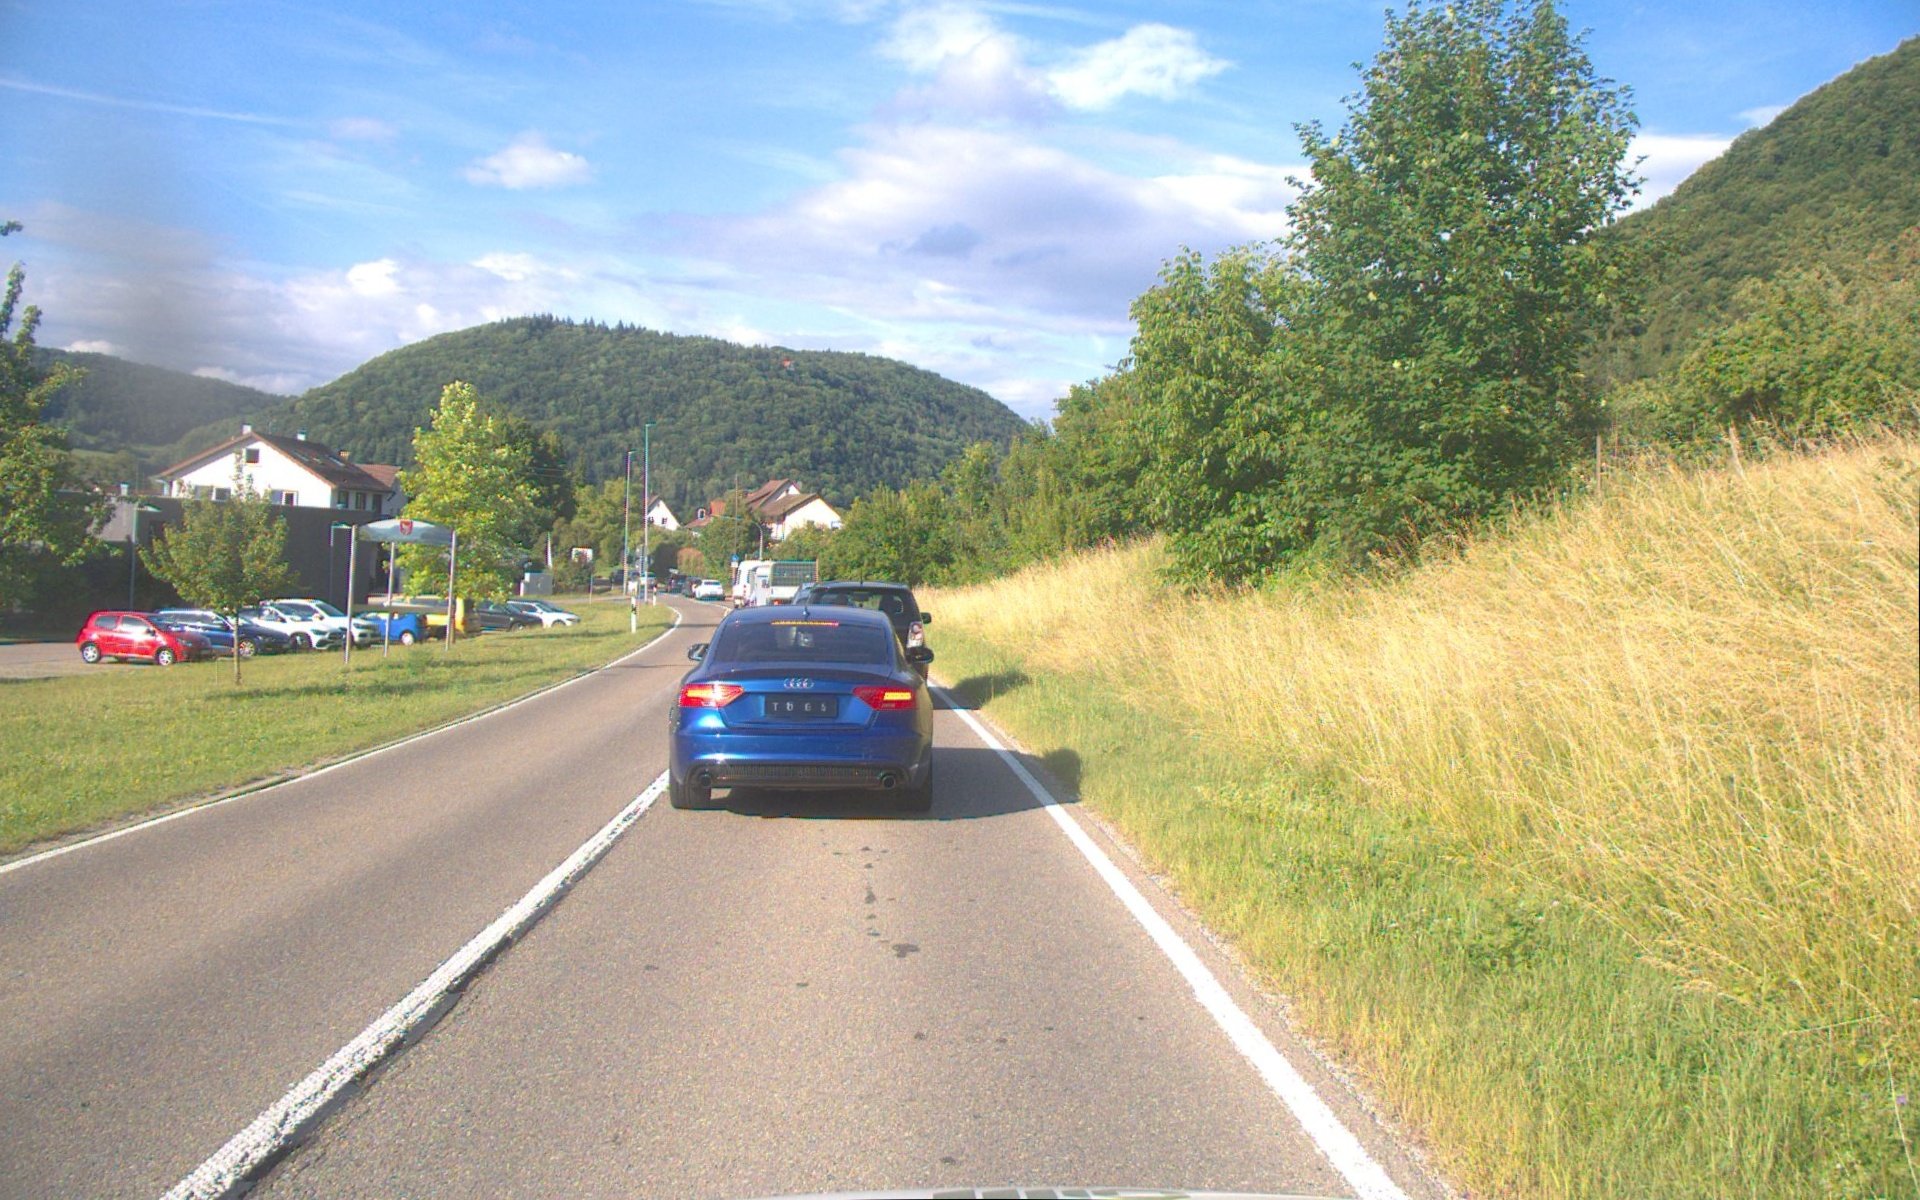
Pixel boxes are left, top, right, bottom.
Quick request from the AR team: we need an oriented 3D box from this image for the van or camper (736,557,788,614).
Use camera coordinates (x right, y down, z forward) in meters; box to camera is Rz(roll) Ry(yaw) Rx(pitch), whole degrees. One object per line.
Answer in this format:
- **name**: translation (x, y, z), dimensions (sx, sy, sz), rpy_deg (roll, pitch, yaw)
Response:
- **van or camper**: translation (-10.088, -0.724, 84.000), dimensions (2.240, 2.761, 5.752), rpy_deg (0, 0, -11)

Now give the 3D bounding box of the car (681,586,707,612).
- **car**: translation (-20.094, -0.063, 124.916), dimensions (1.631, 1.958, 3.986), rpy_deg (0, 0, -14)

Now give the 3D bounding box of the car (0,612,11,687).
- **car**: translation (-24.305, 1.156, 38.238), dimensions (3.737, 1.752, 1.733), rpy_deg (0, 0, 4)

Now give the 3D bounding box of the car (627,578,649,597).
- **car**: translation (-32.758, -1.265, 168.411), dimensions (1.652, 1.958, 3.978), rpy_deg (0, 0, -19)

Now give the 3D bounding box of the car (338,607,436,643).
- **car**: translation (-22.801, 0.991, 65.888), dimensions (3.301, 1.397, 1.659), rpy_deg (0, 0, -2)

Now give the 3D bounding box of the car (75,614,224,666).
- **car**: translation (-23.650, 1.148, 48.307), dimensions (3.548, 1.469, 1.649), rpy_deg (0, 0, 5)

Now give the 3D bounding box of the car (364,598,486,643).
- **car**: translation (-22.134, 0.844, 68.496), dimensions (4.457, 1.846, 1.842), rpy_deg (0, 0, 5)

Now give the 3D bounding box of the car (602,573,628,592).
- **car**: translation (-36.915, -1.872, 176.858), dimensions (1.929, 1.958, 3.970), rpy_deg (0, 0, -24)

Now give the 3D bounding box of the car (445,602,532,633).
- **car**: translation (-22.384, 0.824, 78.561), dimensions (3.634, 1.464, 1.510), rpy_deg (0, 0, 5)

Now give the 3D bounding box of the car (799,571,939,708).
- **car**: translation (-1.292, 0.485, 22.273), dimensions (1.614, 1.653, 3.512), rpy_deg (2, 0, -7)

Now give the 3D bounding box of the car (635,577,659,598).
- **car**: translation (-30.255, -1.219, 159.751), dimensions (1.652, 1.958, 3.976), rpy_deg (0, 0, -20)

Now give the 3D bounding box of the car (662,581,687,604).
- **car**: translation (-24.824, -0.659, 143.795), dimensions (1.651, 1.958, 3.979), rpy_deg (0, 0, -18)

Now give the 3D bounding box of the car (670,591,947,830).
- **car**: translation (-1.059, 0.681, 12.044), dimensions (1.708, 1.476, 3.514), rpy_deg (1, 0, -4)

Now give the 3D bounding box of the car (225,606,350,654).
- **car**: translation (-22.980, 1.019, 56.596), dimensions (3.588, 1.519, 1.598), rpy_deg (0, 3, 5)

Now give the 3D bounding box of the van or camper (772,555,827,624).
- **van or camper**: translation (-6.257, -0.397, 64.109), dimensions (2.013, 2.549, 5.802), rpy_deg (0, 0, -7)

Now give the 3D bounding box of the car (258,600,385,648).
- **car**: translation (-23.098, 0.871, 59.918), dimensions (3.990, 1.702, 1.598), rpy_deg (0, 0, 5)

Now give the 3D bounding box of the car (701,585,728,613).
- **car**: translation (-17.334, -0.070, 116.688), dimensions (1.630, 1.958, 3.988), rpy_deg (0, 0, -12)

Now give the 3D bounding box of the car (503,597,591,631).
- **car**: translation (-20.690, 0.682, 82.891), dimensions (3.950, 1.689, 1.657), rpy_deg (0, 0, 5)

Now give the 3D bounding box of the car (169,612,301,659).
- **car**: translation (-23.381, 1.143, 53.418), dimensions (3.548, 1.429, 1.598), rpy_deg (0, 2, 5)
